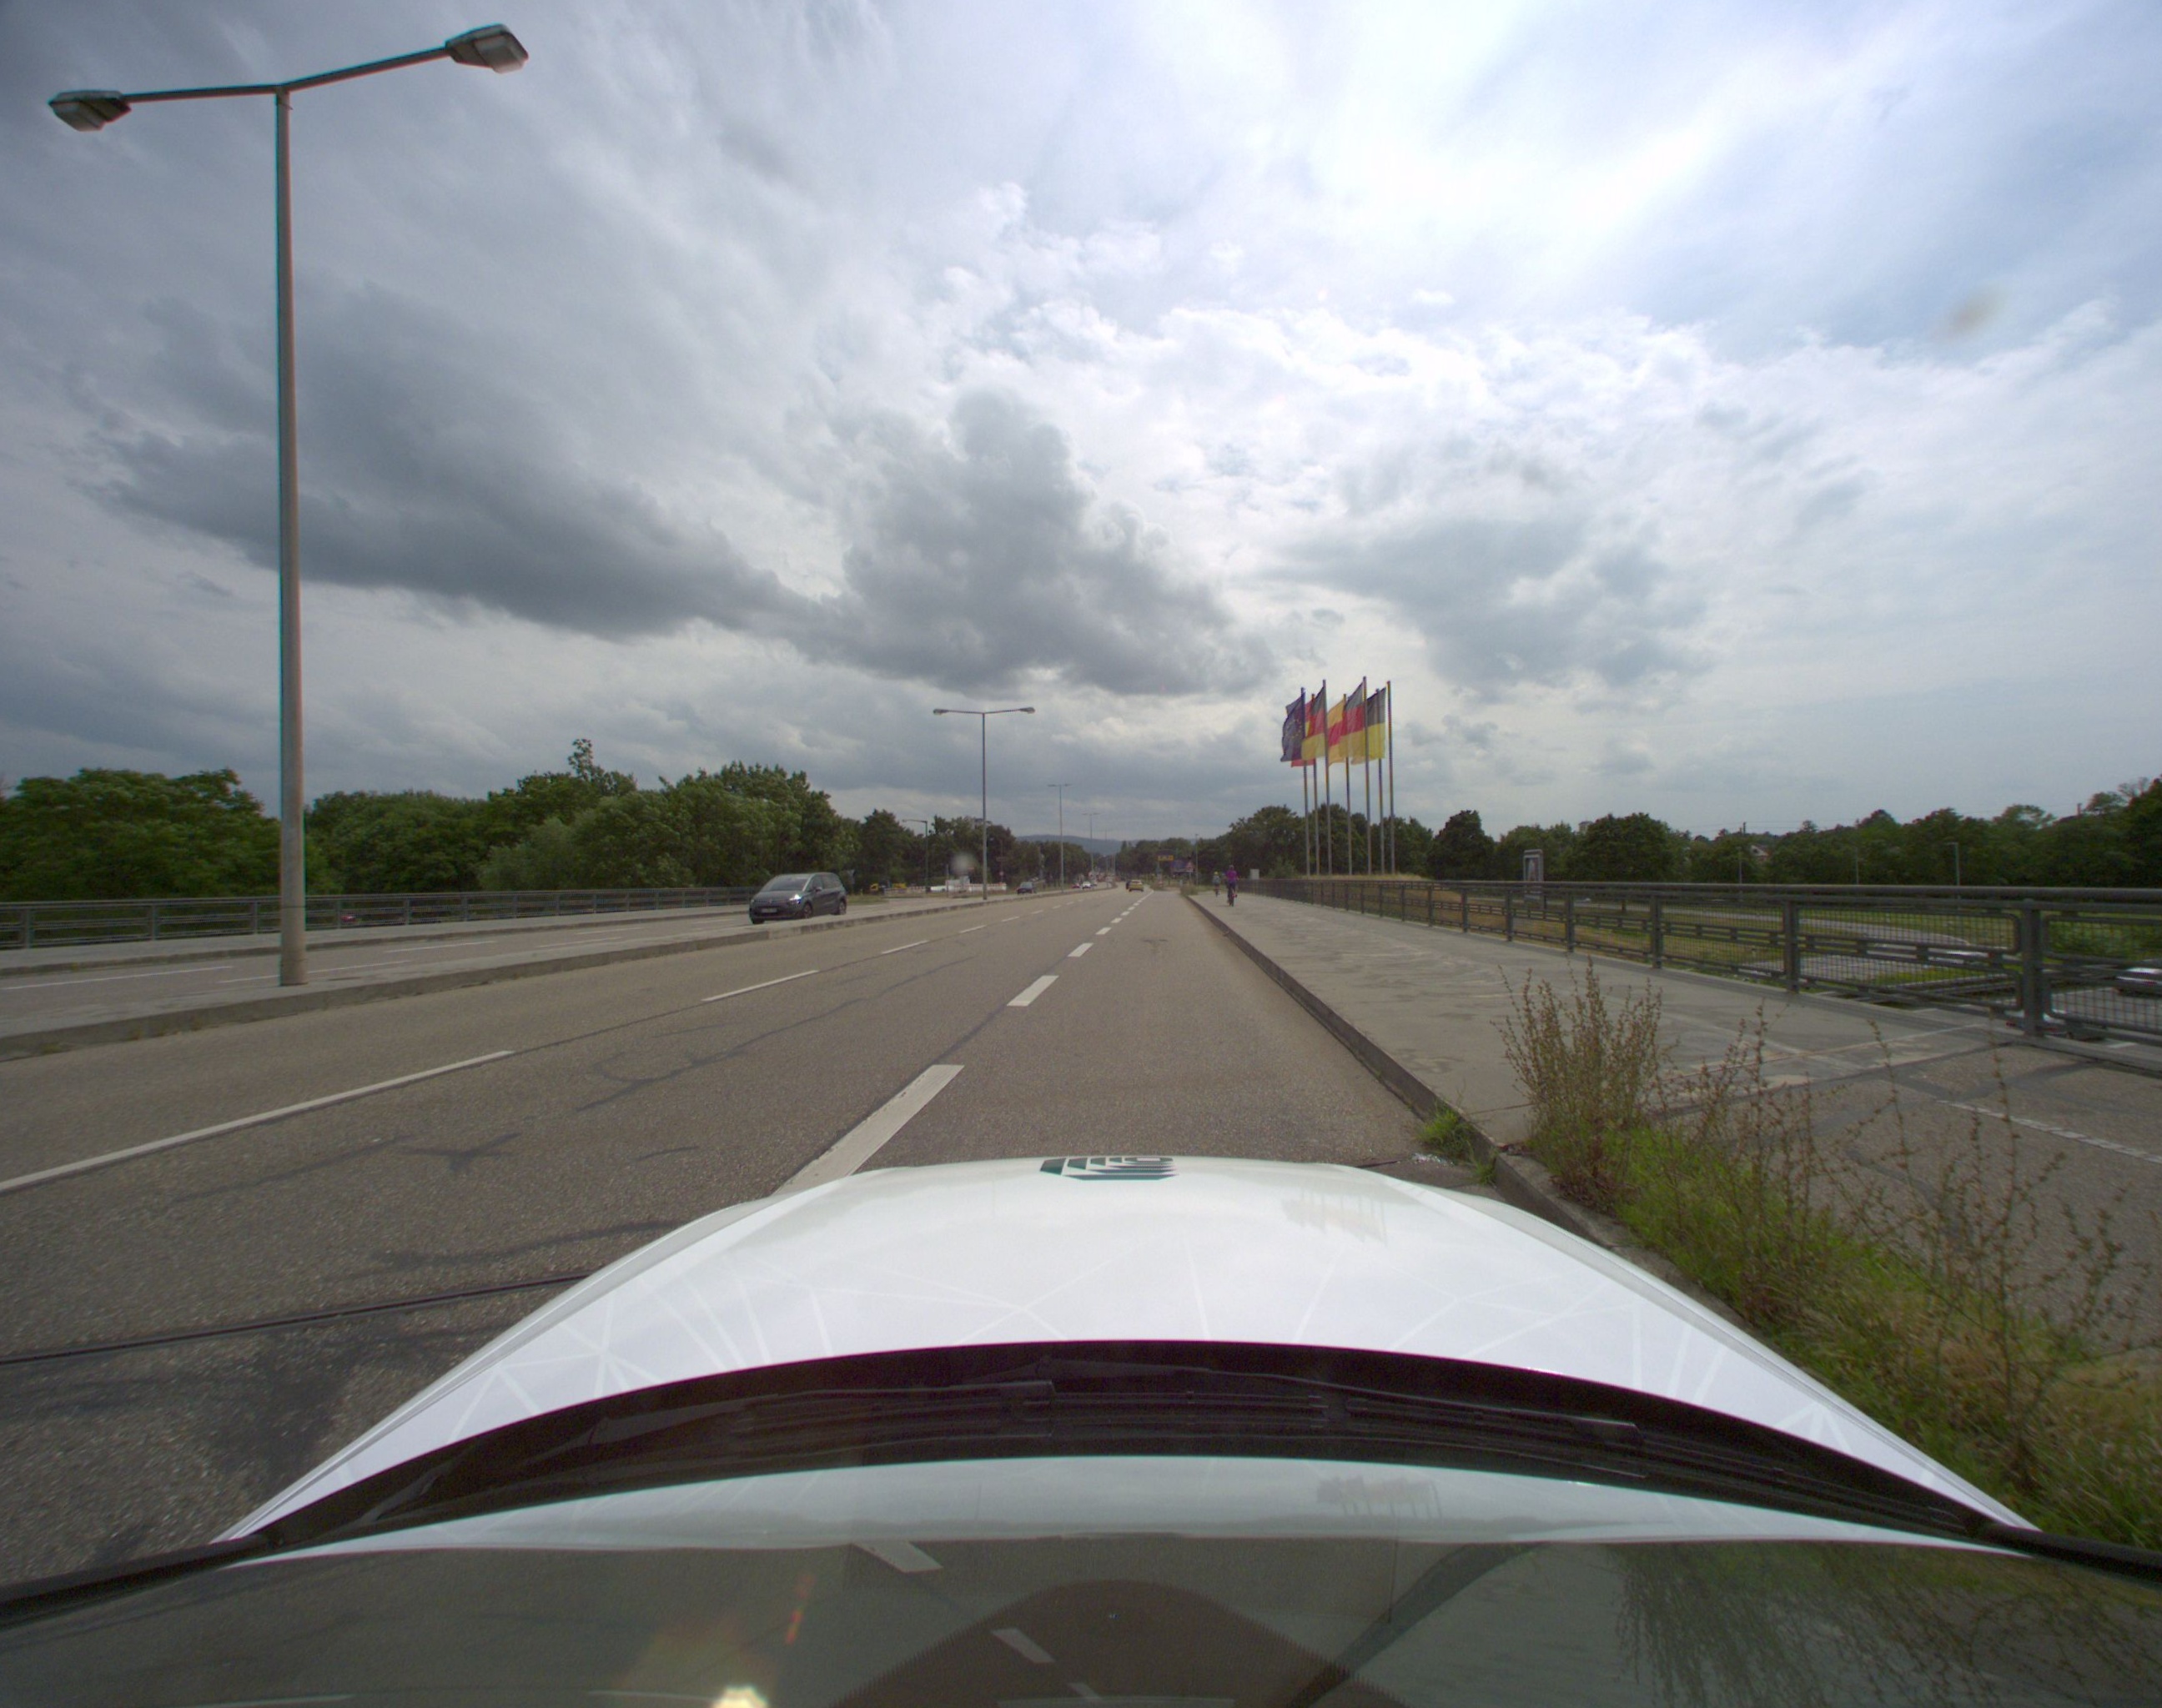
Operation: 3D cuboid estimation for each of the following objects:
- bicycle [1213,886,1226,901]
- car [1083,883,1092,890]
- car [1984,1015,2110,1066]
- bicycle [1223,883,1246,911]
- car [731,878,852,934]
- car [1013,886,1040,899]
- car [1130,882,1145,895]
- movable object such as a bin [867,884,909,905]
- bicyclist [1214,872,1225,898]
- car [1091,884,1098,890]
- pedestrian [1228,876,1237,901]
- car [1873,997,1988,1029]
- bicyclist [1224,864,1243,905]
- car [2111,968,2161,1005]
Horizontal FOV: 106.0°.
[{"bbox_3d":[9.170,2.597,53.793,0.620,0.888,2.156,-1,-1,4],"label":"bicycle"},{"bbox_3d":[1.425,7.330,183.622,1.686,1.629,4.390,-1,-1,6],"label":"car"},{"bbox_3d":[42.462,8.167,35.820,3.993,1.585,1.990,-1,-2,-15],"label":"car"},{"bbox_3d":[6.798,1.883,36.162,0.690,1.192,2.463,-2,-2,4],"label":"bicycle"},{"bbox_3d":[-9.428,1.632,26.991,1.984,1.640,4.667,-1,-1,5],"label":"car"},{"bbox_3d":[-6.238,4.386,93.878,1.982,1.374,4.588,-3,-3,9],"label":"car"},{"bbox_3d":[7.034,4.353,102.412,1.786,1.562,4.003,-1,-1,3],"label":"car"},{"bbox_3d":[-23.209,4.900,97.969,4.571,2.397,1.996,-1,-2,-6],"label":"movable object such as a bin"},{"bbox_3d":[9.196,2.063,54.200,0.619,1.666,0.670,-1,-2,3],"label":"bicyclist"},{"bbox_3d":[4.083,9.792,243.140,1.894,1.810,4.544,-1,-1,4],"label":"car"},{"bbox_3d":[12.516,2.819,67.267,0.624,2.014,0.669,-1,-2,5],"label":"pedestrian"},{"bbox_3d":[41.560,7.756,39.882,3.985,1.238,1.994,2,-2,-8],"label":"car"},{"bbox_3d":[6.730,1.343,36.001,0.700,1.755,0.992,-1,-2,4],"label":"bicyclist"},{"bbox_3d":[59.859,7.324,45.068,3.991,1.585,1.991,-1,-2,-13],"label":"car"}]
